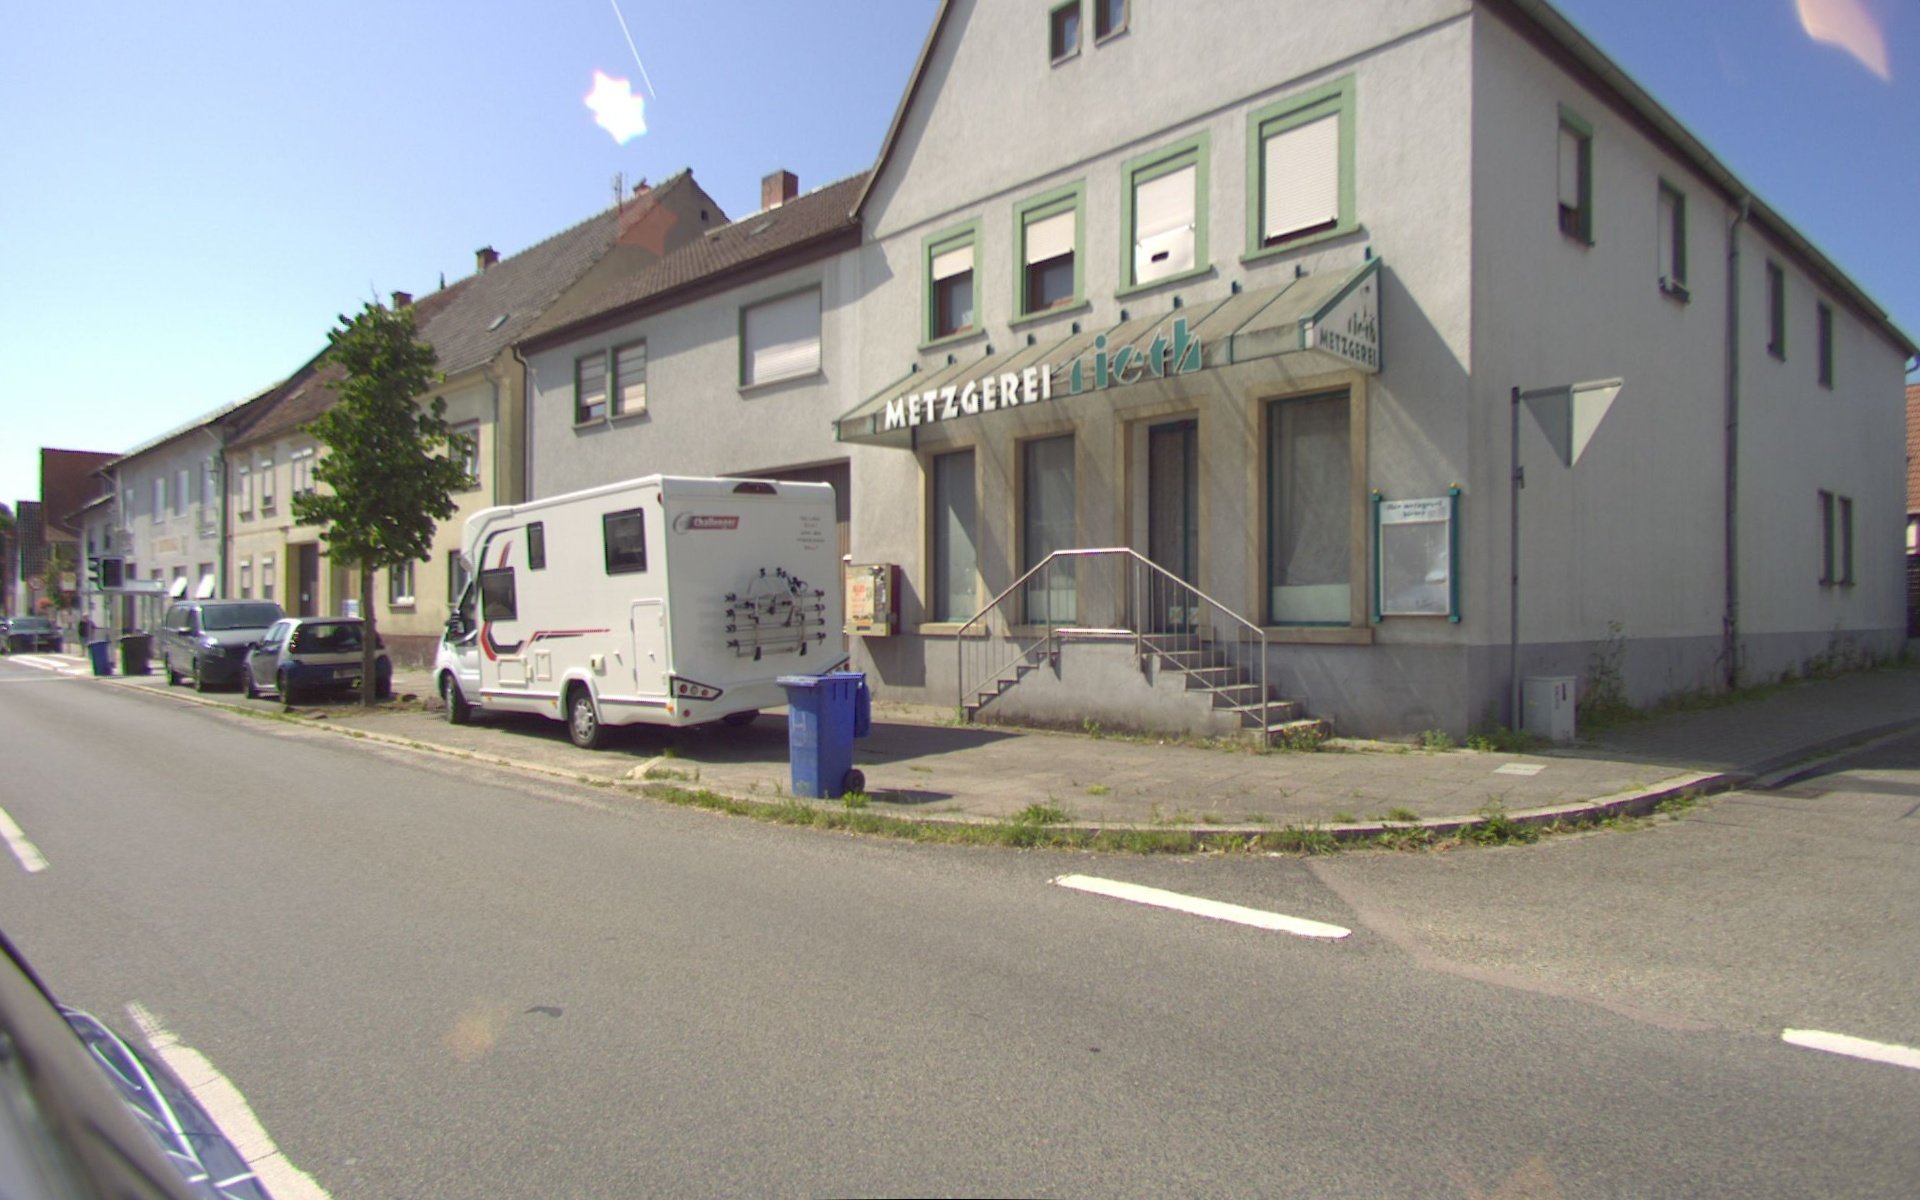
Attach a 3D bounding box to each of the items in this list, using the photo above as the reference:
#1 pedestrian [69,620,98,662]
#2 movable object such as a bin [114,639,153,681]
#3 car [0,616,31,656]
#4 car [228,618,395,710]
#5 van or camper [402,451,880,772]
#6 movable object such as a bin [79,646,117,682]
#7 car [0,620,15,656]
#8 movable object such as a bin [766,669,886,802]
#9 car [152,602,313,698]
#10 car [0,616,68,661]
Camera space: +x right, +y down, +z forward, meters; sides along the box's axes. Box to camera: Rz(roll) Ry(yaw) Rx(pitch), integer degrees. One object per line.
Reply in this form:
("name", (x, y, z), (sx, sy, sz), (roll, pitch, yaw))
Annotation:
("pedestrian", (-32.523, 1.517, 37.544), (0.581, 1.543, 0.743), (-2, -1, 40))
("movable object such as a bin", (-21.972, 1.577, 26.902), (0.550, 1.075, 0.709), (-1, -1, 40))
("car", (-48.455, 1.785, 50.893), (4.953, 1.862, 1.973), (-1, 0, 41))
("car", (-11.842, 1.094, 18.401), (3.617, 1.493, 1.667), (-1, -1, 42))
("van or camper", (-4.305, 0.166, 12.521), (7.066, 2.927, 2.419), (-1, -1, 42))
("movable object such as a bin", (-23.318, 1.728, 27.379), (0.550, 0.919, 0.709), (-1, -1, 40))
("car", (-52.313, 2.034, 54.393), (4.957, 1.862, 1.971), (-2, -1, 44))
("movable object such as a bin", (-0.989, 0.976, 7.500), (0.613, 0.878, 0.636), (-1, -1, 41))
("car", (-15.930, 1.016, 22.047), (4.957, 1.862, 1.971), (-1, -1, 44))
("car", (-40.918, 1.667, 44.368), (4.957, 1.862, 2.324), (-2, -1, 44))
